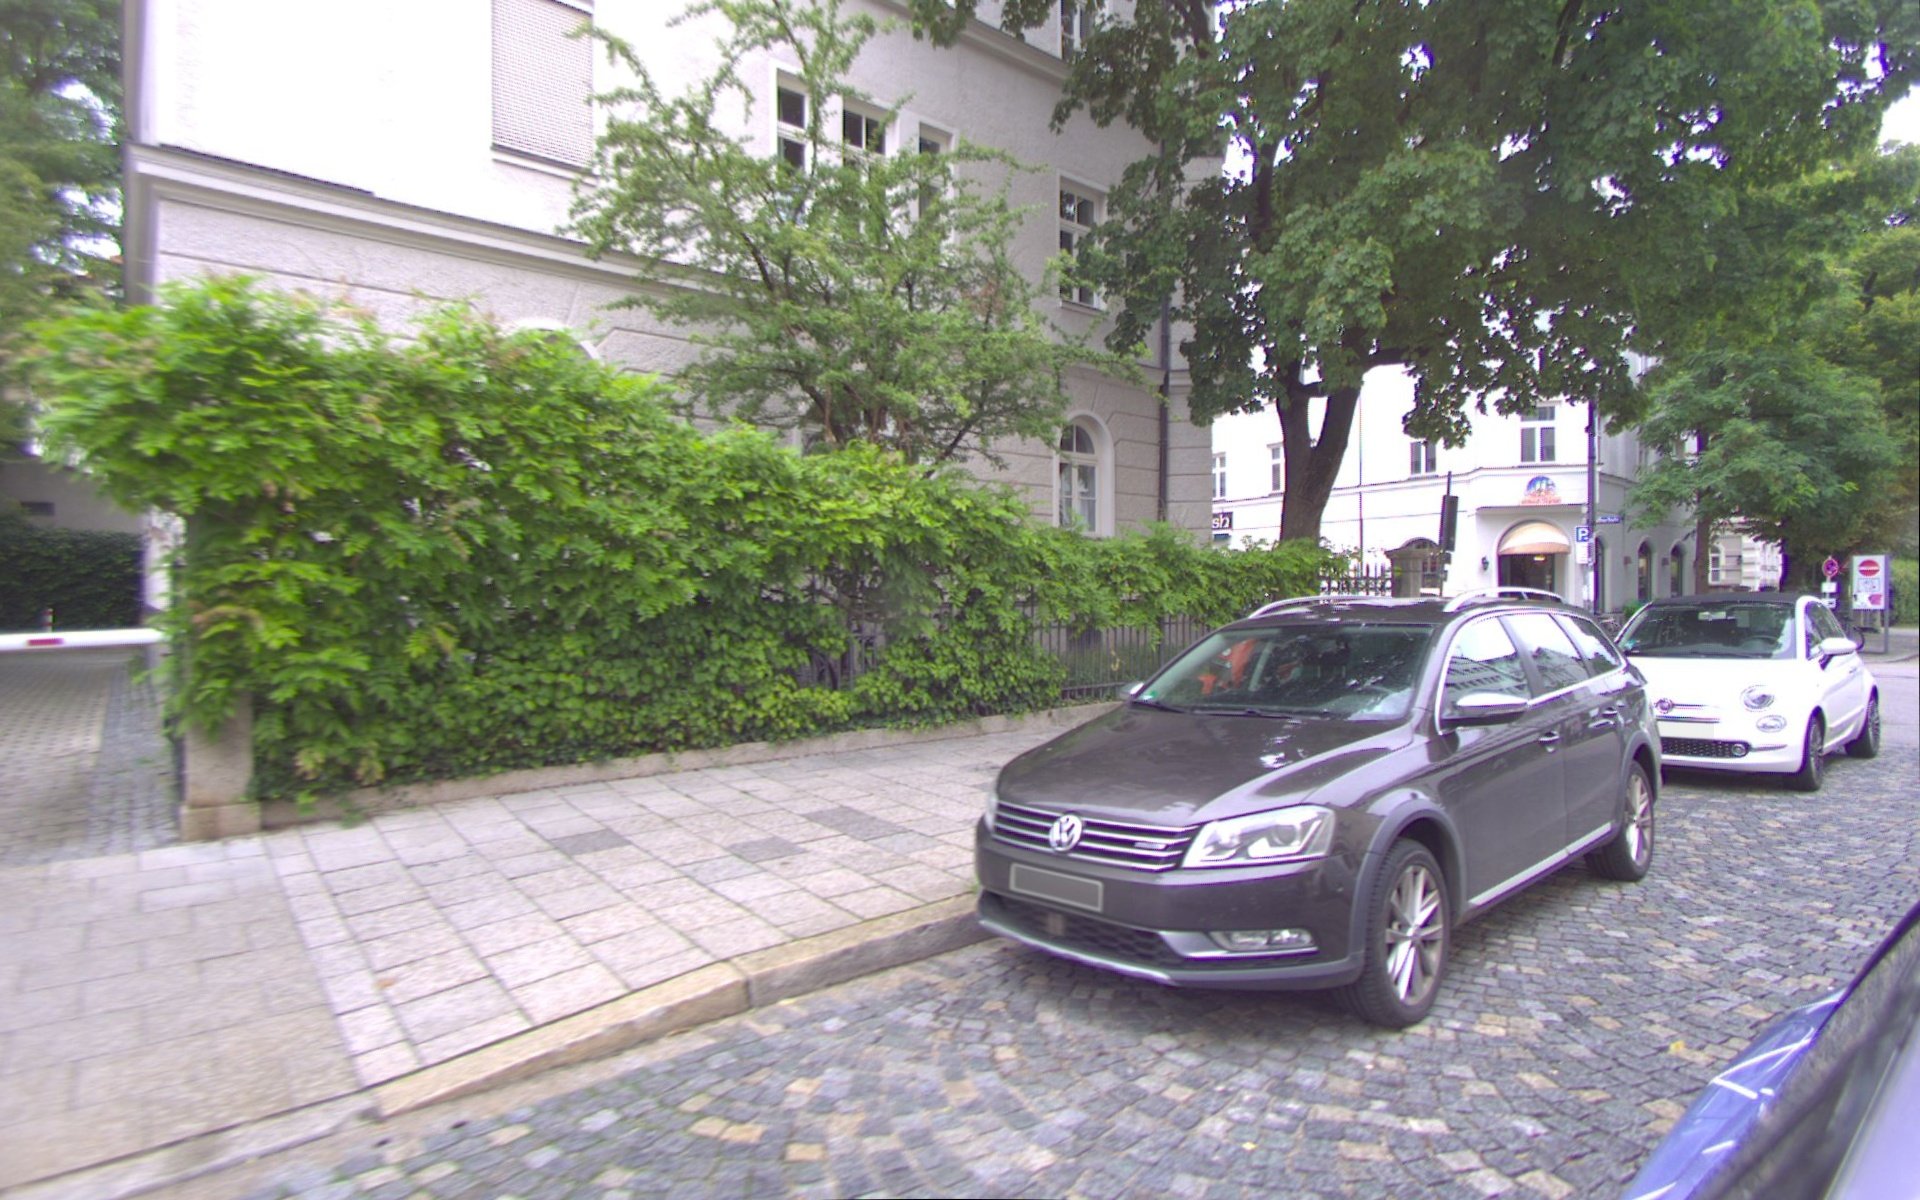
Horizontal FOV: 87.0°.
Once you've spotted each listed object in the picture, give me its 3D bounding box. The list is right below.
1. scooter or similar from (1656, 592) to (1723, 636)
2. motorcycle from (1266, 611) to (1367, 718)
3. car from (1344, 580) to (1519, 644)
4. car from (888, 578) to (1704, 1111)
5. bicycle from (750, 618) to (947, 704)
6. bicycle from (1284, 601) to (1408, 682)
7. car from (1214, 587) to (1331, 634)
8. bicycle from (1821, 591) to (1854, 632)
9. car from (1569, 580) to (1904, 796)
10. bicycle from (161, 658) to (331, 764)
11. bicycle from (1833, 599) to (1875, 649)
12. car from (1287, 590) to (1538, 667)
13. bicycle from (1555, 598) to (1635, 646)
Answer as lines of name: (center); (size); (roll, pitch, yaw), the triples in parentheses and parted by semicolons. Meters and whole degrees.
scooter or similar: (20.516, 0.379, 28.496); (0.396, 1.187, 1.611); (-1, 1, -16)
motorcycle: (4.013, 0.691, 11.347); (1.378, 1.104, 0.363); (-1, 0, -38)
car: (12.998, 0.296, 28.142); (1.867, 1.617, 4.093); (-1, 0, -27)
car: (1.983, 0.684, 4.926); (4.553, 1.440, 1.650); (-1, -3, -42)
bicycle: (-1.205, 0.643, 11.312); (2.231, 0.822, 0.493); (-1, 0, -36)
bicycle: (5.886, 0.601, 15.546); (0.551, 1.138, 1.846); (0, 1, -30)
car: (10.291, 0.323, 33.564); (1.666, 1.443, 3.545); (-1, 0, -28)
bicycle: (27.696, 0.357, 31.933); (1.700, 1.212, 0.429); (-1, 5, -40)
car: (6.868, 0.589, 8.826); (3.727, 1.489, 1.505); (-1, 1, -39)
bicycle: (-5.279, 0.800, 7.505); (1.019, 0.687, 0.261); (0, 0, -39)
bicycle: (22.071, 0.581, 24.978); (1.559, 1.161, 0.389); (-1, 0, -33)
car: (9.041, 0.493, 20.635); (1.726, 1.375, 4.485); (0, 0, -32)
bicycle: (16.335, 0.551, 26.072); (0.726, 1.082, 1.606); (-5, 5, -36)
